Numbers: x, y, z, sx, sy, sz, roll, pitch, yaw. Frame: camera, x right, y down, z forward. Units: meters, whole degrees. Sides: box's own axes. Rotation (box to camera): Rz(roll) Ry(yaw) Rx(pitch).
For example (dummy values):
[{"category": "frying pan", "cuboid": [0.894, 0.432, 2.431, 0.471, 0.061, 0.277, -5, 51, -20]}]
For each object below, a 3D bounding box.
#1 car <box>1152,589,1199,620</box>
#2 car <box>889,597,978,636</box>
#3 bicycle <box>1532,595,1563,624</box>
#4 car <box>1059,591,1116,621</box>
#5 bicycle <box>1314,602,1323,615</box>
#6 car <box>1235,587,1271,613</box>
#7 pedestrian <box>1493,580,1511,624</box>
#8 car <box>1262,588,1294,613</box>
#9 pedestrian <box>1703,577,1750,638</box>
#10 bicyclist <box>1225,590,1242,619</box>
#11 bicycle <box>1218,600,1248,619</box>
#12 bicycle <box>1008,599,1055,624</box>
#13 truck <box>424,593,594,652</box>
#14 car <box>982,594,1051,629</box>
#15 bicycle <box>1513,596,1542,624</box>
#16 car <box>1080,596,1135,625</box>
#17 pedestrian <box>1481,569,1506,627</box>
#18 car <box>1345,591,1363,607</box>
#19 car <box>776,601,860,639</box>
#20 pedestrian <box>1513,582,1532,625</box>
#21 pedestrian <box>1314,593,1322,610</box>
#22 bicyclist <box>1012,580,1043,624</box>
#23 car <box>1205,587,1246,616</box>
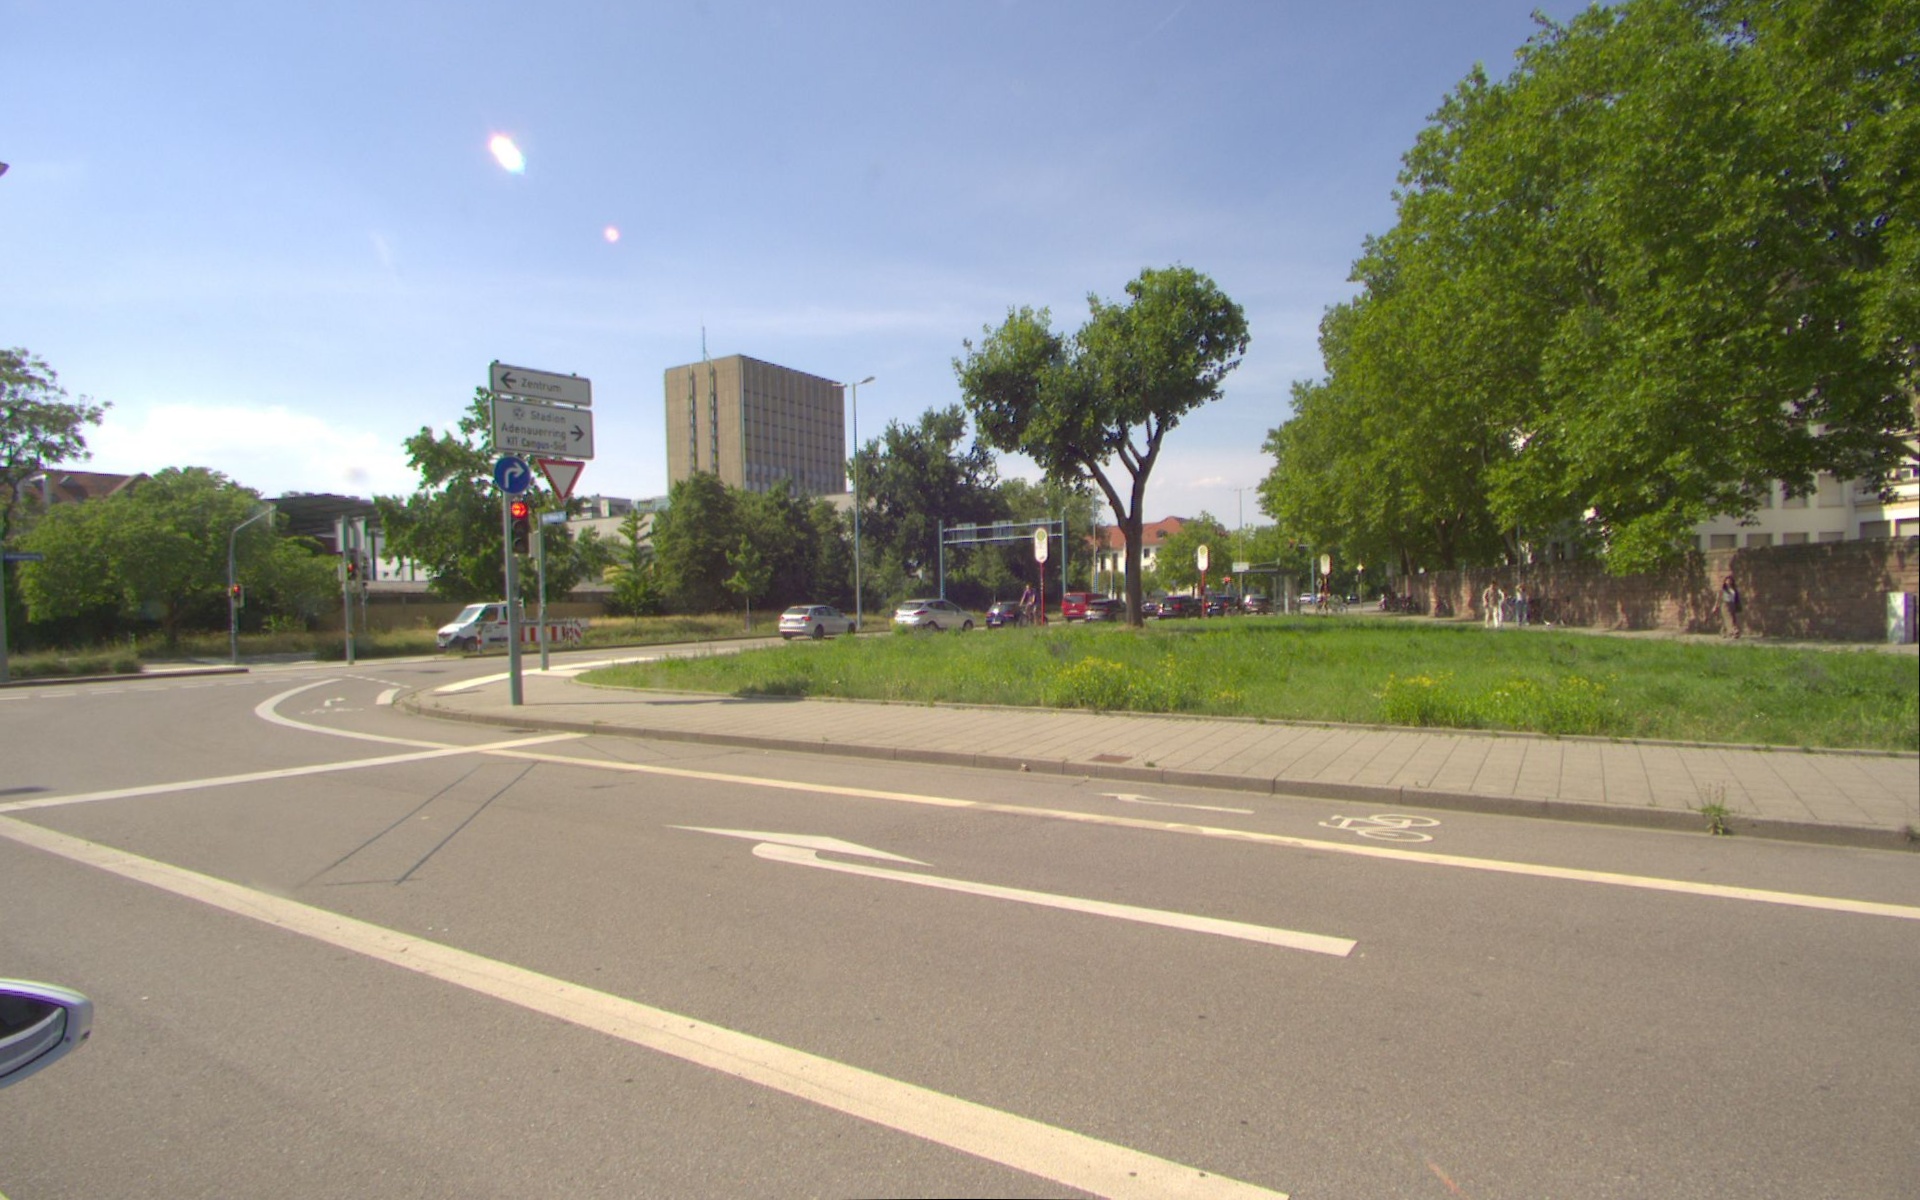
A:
[{"category": "car", "cuboid": [14.740, 0.293, 68.255, 1.970, 2.041, 3.980, -1, 1, 30]}, {"category": "car", "cuboid": [-1.165, 0.713, 45.695, 1.691, 1.640, 4.183, -1, 1, 40]}, {"category": "bicycle", "cuboid": [21.672, 0.348, 36.963, 0.439, 1.047, 1.447, -1, 1, 6]}, {"category": "car", "cuboid": [8.247, 0.350, 64.622, 1.950, 1.821, 4.587, -1, 1, 31]}, {"category": "bicycle", "cuboid": [31.666, 0.739, 88.484, 0.552, 1.066, 1.318, -1, 1, 30]}, {"category": "car", "cuboid": [24.107, -0.030, 82.267, 1.970, 2.041, 3.980, -1, 1, 30]}, {"category": "pedestrian", "cuboid": [20.216, 0.081, 37.373, 0.515, 1.599, 0.701, -1, 1, 23]}, {"category": "car", "cuboid": [27.952, 0.111, 87.900, 1.970, 2.039, 3.984, -1, -2, 29]}, {"category": "pedestrian", "cuboid": [20.034, 0.196, 26.198, 0.493, 1.569, 0.913, -1, 1, -3]}, {"category": "bicyclist", "cuboid": [19.519, 0.306, 71.406, 0.769, 2.039, 1.265, -1, -2, 38]}, {"category": "bicycle", "cuboid": [19.464, 0.691, 71.322, 0.838, 1.233, 3.462, -1, -2, 37]}, {"category": "bicycle", "cuboid": [2.805, 0.438, 39.056, 1.912, 0.899, 0.679, -2, 1, -42]}, {"category": "truck", "cuboid": [-20.748, 0.988, 46.520, 2.380, 2.386, 7.007, -3, 0, 33]}, {"category": "car", "cuboid": [2.891, 0.567, 50.922, 1.564, 1.612, 3.972, -1, 1, 37]}, {"category": "bicycle", "cuboid": [21.823, 0.384, 38.540, 0.439, 1.047, 1.447, -1, 1, 6]}, {"category": "car", "cuboid": [8.885, 0.631, 60.023, 1.564, 1.612, 3.972, -1, 1, 37]}, {"category": "pedestrian", "cuboid": [19.329, -0.069, 36.298, 0.513, 2.040, 0.596, -2, 1, -9]}, {"category": "car", "cuboid": [53.085, -0.075, 134.833, 1.968, 2.039, 3.987, -1, -2, 26]}, {"category": "car", "cuboid": [-5.985, 0.830, 42.597, 1.558, 1.439, 4.159, -1, 1, 23]}, {"category": "pedestrian", "cuboid": [20.902, 0.124, 37.191, 0.515, 1.599, 0.701, -1, 1, 23]}, {"category": "pedestrian", "cuboid": [31.647, 0.155, 88.465, 0.552, 1.458, 0.729, 0, 1, 30]}, {"category": "bicyclist", "cuboid": [2.642, 0.079, 38.946, 1.068, 1.659, 0.486, -1, 1, 29]}, {"category": "car", "cuboid": [19.926, 0.078, 75.107, 1.970, 2.041, 3.980, -1, 1, 30]}]
